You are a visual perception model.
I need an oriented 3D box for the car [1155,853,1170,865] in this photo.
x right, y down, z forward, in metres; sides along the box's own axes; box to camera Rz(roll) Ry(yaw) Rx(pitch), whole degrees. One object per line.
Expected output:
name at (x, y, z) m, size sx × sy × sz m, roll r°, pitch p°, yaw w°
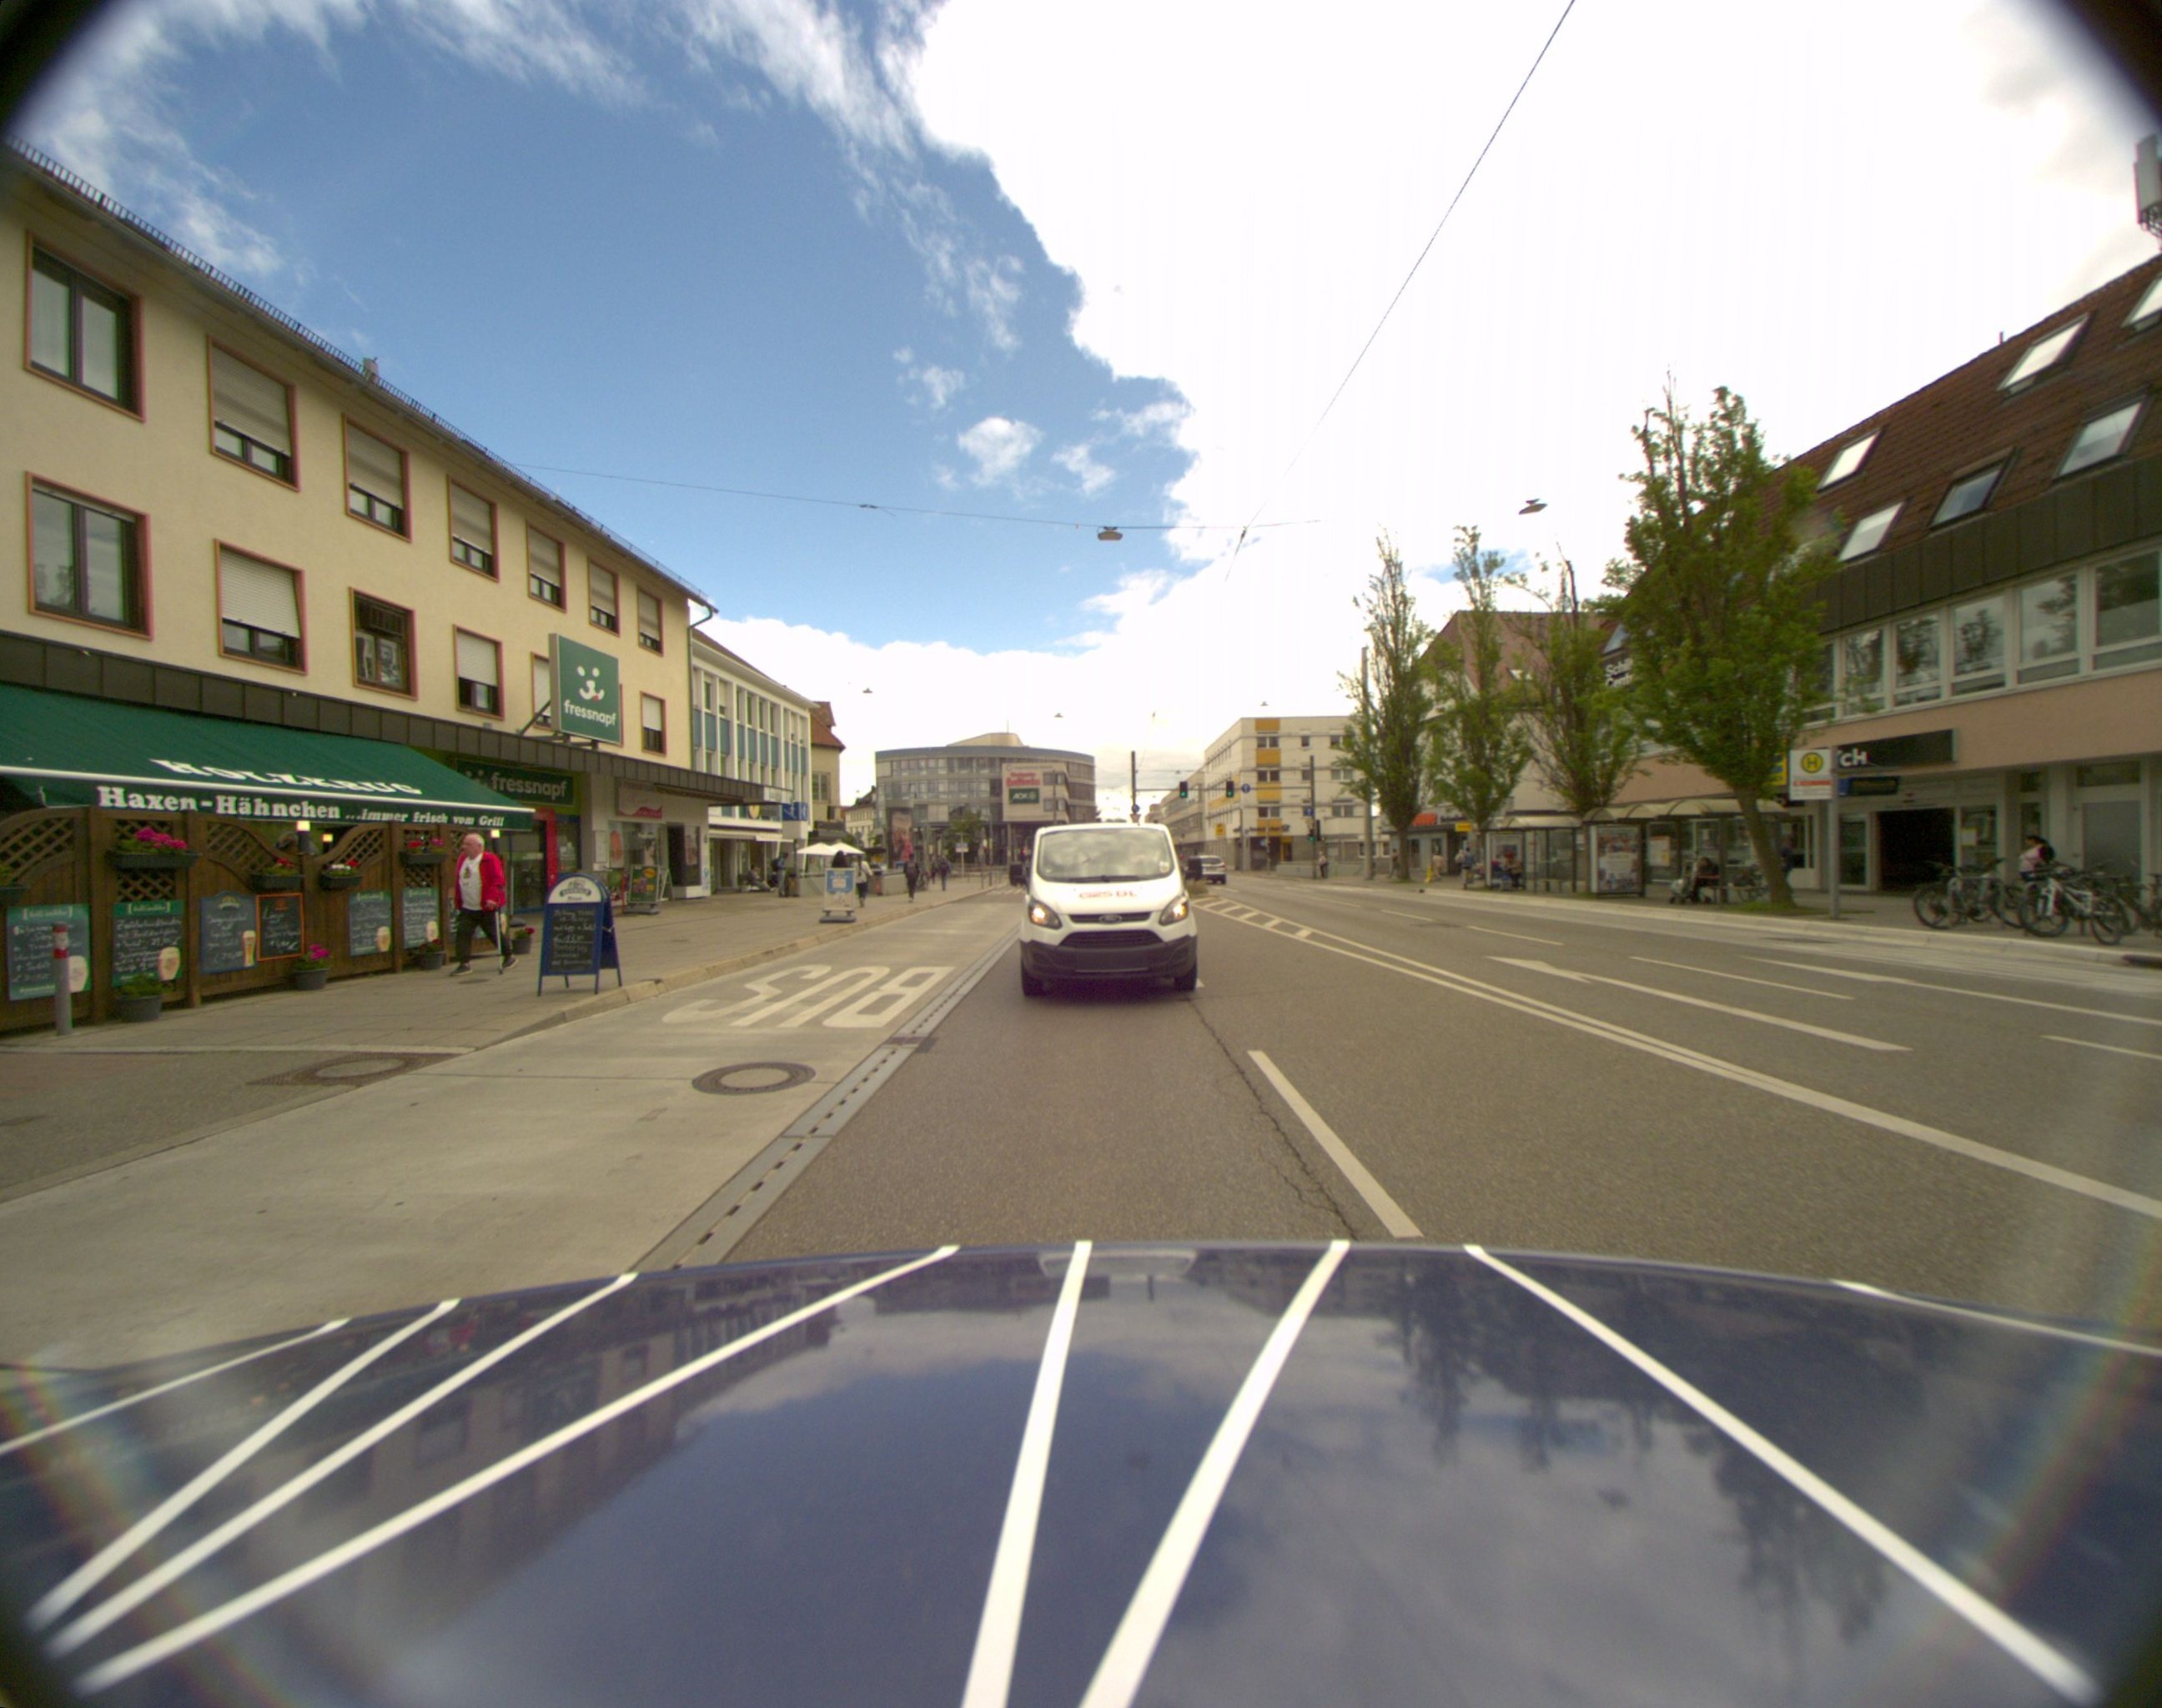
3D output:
car at (14.212, 0.896, 133.422) m, size 1.999 × 2.002 × 4.486 m, roll -2°, pitch 0°, yaw -1°

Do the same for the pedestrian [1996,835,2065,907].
pedestrian at (20.749, 0.371, 16.611) m, size 0.713 × 1.538 × 0.588 m, roll -2°, pitch 0°, yaw 0°

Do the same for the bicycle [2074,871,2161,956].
bicycle at (15.190, 0.797, 10.645) m, size 2.024 × 1.084 × 0.648 m, roll -1°, pitch 0°, yaw -9°

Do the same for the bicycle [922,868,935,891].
bicycle at (-7.262, 1.187, 36.238) m, size 0.274 × 1.047 × 1.387 m, roll -1°, pitch 0°, yaw 2°

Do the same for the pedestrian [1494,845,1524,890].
pedestrian at (15.986, 0.520, 28.417) m, size 0.588 × 1.642 × 0.713 m, roll -2°, pitch 0°, yaw -17°

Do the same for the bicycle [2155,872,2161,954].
bicycle at (15.359, 0.761, 9.947) m, size 2.024 × 1.084 × 0.648 m, roll -1°, pitch 0°, yaw -9°

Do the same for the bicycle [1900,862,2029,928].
bicycle at (16.069, 0.722, 13.821) m, size 2.025 × 1.084 × 0.648 m, roll -2°, pitch 0°, yaw -13°

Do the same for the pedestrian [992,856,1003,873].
pedestrian at (-8.673, 1.084, 79.124) m, size 0.847 × 1.625 × 0.644 m, roll -4°, pitch 0°, yaw -32°

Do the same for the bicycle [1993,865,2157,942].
bicycle at (15.480, 0.748, 11.848) m, size 2.024 × 1.084 × 0.648 m, roll -1°, pitch 0°, yaw -9°

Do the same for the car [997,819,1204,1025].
car at (0.366, 0.698, 10.099) m, size 1.998 × 2.002 × 5.001 m, roll -2°, pitch 0°, yaw 4°

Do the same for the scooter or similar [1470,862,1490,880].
scooter or similar at (19.489, 0.808, 37.141) m, size 0.593 × 0.843 × 0.702 m, roll -1°, pitch 0°, yaw 0°

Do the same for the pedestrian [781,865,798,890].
pedestrian at (-14.216, 1.133, 37.029) m, size 0.614 × 1.213 × 0.588 m, roll 0°, pitch 0°, yaw -1°

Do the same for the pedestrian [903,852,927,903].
pedestrian at (-5.530, 0.774, 25.274) m, size 0.613 × 1.668 × 0.615 m, roll -1°, pitch 0°, yaw 3°

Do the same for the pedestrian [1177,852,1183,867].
pedestrian at (12.194, 0.721, 93.444) m, size 0.587 × 1.792 × 0.526 m, roll -4°, pitch 0°, yaw 1°

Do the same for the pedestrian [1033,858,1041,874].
pedestrian at (-4.691, 1.280, 81.394) m, size 0.589 × 1.625 × 0.525 m, roll -4°, pitch 0°, yaw -44°

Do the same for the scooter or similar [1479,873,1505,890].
scooter or similar at (15.362, 1.022, 28.421) m, size 0.593 × 0.598 × 0.702 m, roll -1°, pitch 0°, yaw 0°

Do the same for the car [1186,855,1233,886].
car at (6.741, 0.814, 40.237) m, size 1.879 × 1.497 × 4.343 m, roll 0°, pitch 1°, yaw 2°

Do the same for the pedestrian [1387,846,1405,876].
pedestrian at (17.628, 0.404, 42.543) m, size 0.587 × 1.625 × 0.615 m, roll -4°, pitch 0°, yaw -1°

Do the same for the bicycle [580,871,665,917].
bicycle at (-11.562, 0.970, 19.260) m, size 0.743 × 1.056 × 2.351 m, roll 0°, pitch 0°, yaw -1°

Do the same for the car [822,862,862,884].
car at (-22.292, 1.775, 70.729) m, size 1.884 × 1.884 × 4.915 m, roll -2°, pitch 0°, yaw -38°

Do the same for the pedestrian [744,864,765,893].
pedestrian at (-14.671, 1.098, 34.170) m, size 0.614 × 1.213 × 0.588 m, roll -4°, pitch 0°, yaw -1°

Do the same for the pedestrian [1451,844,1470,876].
pedestrian at (19.901, 0.325, 39.859) m, size 0.587 × 1.625 × 0.615 m, roll -4°, pitch 0°, yaw -1°

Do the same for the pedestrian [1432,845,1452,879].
pedestrian at (18.246, 0.407, 38.402) m, size 0.587 × 1.625 × 0.615 m, roll -4°, pitch 0°, yaw -1°

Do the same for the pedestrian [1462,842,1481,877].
pedestrian at (19.433, 0.262, 37.814) m, size 0.587 × 1.702 × 0.615 m, roll -3°, pitch 0°, yaw -1°

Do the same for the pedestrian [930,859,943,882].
pedestrian at (-10.488, 1.190, 55.183) m, size 0.589 × 1.612 × 0.743 m, roll -4°, pitch 0°, yaw -31°

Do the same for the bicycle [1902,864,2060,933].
bicycle at (15.256, 0.741, 12.906) m, size 2.023 × 1.084 × 0.649 m, roll -1°, pitch 0°, yaw -4°

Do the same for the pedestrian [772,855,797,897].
pedestrian at (-11.738, 0.848, 30.097) m, size 0.668 × 1.625 × 0.800 m, roll -1°, pitch 0°, yaw -2°

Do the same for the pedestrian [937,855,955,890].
pedestrian at (-6.414, 0.883, 36.182) m, size 0.689 × 1.625 × 0.853 m, roll -1°, pitch 0°, yaw 0°

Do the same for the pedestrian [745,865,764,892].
pedestrian at (-14.988, 1.132, 34.879) m, size 0.614 × 1.213 × 0.588 m, roll -2°, pitch 0°, yaw -1°

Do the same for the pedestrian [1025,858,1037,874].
pedestrian at (-5.213, 1.272, 78.975) m, size 0.808 × 1.637 × 0.886 m, roll -2°, pitch 0°, yaw -33°

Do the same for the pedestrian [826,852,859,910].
pedestrian at (-6.828, 0.767, 21.769) m, size 0.720 × 1.625 × 0.615 m, roll -1°, pitch 1°, yaw -2°

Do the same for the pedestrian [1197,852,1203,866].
pedestrian at (15.278, 0.602, 97.259) m, size 0.587 × 1.792 × 0.526 m, roll -4°, pitch 0°, yaw 1°

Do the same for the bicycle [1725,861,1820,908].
bicycle at (17.097, 0.728, 18.846) m, size 0.535 × 1.084 × 1.930 m, roll -2°, pitch 0°, yaw -1°

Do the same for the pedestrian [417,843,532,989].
pedestrian at (-7.494, 0.736, 9.432) m, size 0.797 × 1.732 × 0.781 m, roll 1°, pitch 2°, yaw -5°

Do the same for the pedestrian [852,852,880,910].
pedestrian at (-6.144, 0.762, 21.716) m, size 0.614 × 1.625 × 0.615 m, roll -1°, pitch 1°, yaw -2°

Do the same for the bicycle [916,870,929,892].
bicycle at (-7.240, 1.211, 34.745) m, size 0.274 × 0.968 × 1.387 m, roll -1°, pitch 0°, yaw 2°

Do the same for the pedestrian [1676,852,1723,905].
pedestrian at (16.288, 0.642, 20.029) m, size 0.713 × 1.356 × 0.588 m, roll -2°, pitch 0°, yaw 3°

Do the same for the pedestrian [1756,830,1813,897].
pedestrian at (19.226, 0.267, 20.769) m, size 0.727 × 1.753 × 0.755 m, roll -4°, pitch 0°, yaw -1°

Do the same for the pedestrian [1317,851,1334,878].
pedestrian at (14.950, 0.631, 46.496) m, size 0.702 × 1.625 × 0.614 m, roll -4°, pitch 0°, yaw -10°
